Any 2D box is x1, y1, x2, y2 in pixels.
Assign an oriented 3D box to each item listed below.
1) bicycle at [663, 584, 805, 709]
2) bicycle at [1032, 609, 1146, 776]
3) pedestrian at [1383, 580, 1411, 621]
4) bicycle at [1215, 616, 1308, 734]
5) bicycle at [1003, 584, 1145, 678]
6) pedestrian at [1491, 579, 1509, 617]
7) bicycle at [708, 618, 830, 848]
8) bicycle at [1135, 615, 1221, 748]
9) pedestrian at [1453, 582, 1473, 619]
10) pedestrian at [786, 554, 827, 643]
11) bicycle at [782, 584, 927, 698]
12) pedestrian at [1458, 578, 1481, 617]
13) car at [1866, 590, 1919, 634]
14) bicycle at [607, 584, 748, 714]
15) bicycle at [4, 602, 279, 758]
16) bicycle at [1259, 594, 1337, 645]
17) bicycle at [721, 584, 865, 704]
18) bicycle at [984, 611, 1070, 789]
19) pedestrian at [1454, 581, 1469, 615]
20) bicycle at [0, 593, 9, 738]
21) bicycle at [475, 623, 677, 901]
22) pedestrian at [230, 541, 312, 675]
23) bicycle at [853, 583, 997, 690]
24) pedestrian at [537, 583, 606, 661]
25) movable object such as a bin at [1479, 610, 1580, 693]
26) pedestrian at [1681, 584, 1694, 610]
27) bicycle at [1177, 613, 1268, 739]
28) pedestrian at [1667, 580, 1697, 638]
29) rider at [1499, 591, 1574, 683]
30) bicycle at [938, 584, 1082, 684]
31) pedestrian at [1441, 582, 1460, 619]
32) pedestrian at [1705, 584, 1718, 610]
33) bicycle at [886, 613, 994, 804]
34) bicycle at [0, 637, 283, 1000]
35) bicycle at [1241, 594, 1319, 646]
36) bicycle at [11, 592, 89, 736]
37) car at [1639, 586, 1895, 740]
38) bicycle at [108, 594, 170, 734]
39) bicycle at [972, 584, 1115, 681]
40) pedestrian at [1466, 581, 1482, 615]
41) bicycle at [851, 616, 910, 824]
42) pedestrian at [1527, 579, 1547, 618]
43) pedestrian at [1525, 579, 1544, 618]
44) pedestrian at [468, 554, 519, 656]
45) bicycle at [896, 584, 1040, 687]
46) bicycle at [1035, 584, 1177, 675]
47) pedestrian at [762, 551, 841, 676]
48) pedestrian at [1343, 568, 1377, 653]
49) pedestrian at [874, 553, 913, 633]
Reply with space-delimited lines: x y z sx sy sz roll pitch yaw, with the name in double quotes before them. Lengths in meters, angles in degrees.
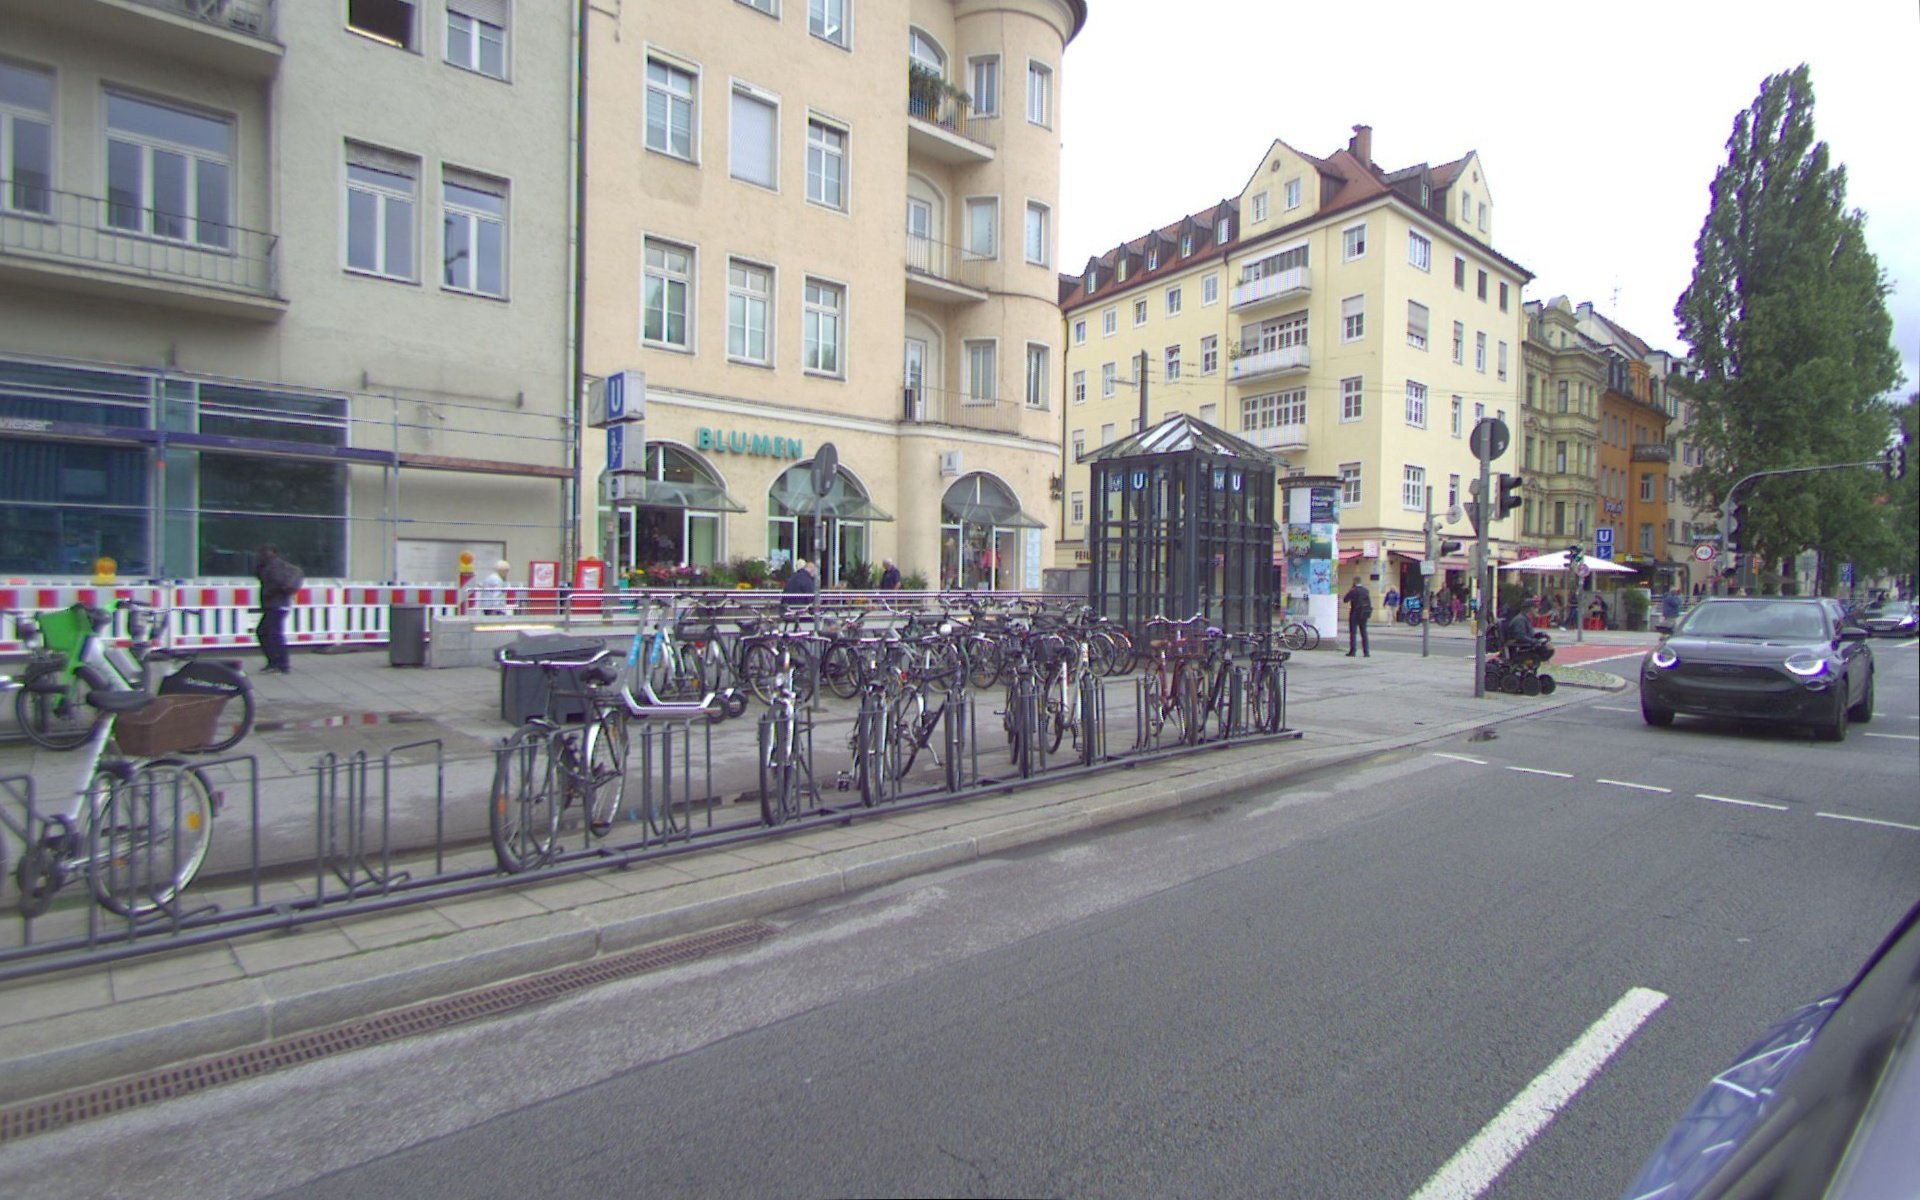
"bicycle" -2.633 0.467 11.565 0.617 1.242 2.343 0 2 -38
"bicycle" 0.986 0.667 8.123 0.468 1.151 1.788 0 0 -7
"pedestrian" 17.177 0.023 39.766 0.818 1.587 0.714 -1 0 -41
"bicycle" 2.980 0.716 10.150 0.390 1.073 1.851 0 -2 1
"bicycle" 1.631 0.407 14.915 0.617 1.242 2.318 0 2 -38
"pedestrian" 25.071 -0.101 46.984 0.575 1.705 0.552 0 1 -41
"bicycle" -1.115 0.709 6.208 0.578 1.151 1.798 0 0 -6
"bicycle" 1.933 0.699 9.147 0.390 1.073 1.851 0 -2 1
"pedestrian" 20.989 0.022 42.242 0.575 1.545 0.528 0 1 -41
"pedestrian" -3.007 -0.044 19.795 0.580 1.722 0.565 -1 2 -43
"bicycle" -1.359 0.454 12.573 0.617 1.242 2.343 0 2 -38
"pedestrian" 22.595 -0.130 44.861 0.672 1.688 0.622 1 1 5
"car" 37.976 0.443 40.692 3.931 1.644 1.852 -1 1 -41
"bicycle" -3.161 0.476 11.157 0.617 1.242 2.368 0 2 -38
"bicycle" -6.137 0.589 7.625 1.728 1.091 0.410 1 2 -1
"bicycle" 8.098 0.451 24.334 0.597 1.142 1.828 2 1 -29
"bicycle" -2.015 0.457 11.925 0.617 1.242 2.318 0 2 -38
"bicycle" 0.471 0.677 7.615 0.469 1.151 1.679 0 0 -2
"pedestrian" 23.115 -0.109 46.641 0.525 1.545 0.578 2 1 34
"bicycle" -8.191 0.515 8.380 1.449 1.091 0.404 3 3 44
"bicycle" -1.927 0.727 5.323 0.480 1.151 1.797 0 0 -3
"pedestrian" -8.838 0.092 12.979 0.819 1.652 0.564 0 1 -38
"bicycle" -0.510 0.427 13.287 0.617 1.242 2.330 0 2 -38
"pedestrian" -6.611 0.351 17.226 0.904 1.261 0.700 -2 3 -43
"movable object such as a bin" 8.368 0.734 14.889 0.735 1.075 1.088 -1 4 -44
"pedestrian" 48.606 -0.209 67.593 0.575 1.705 0.552 0 1 -41
"bicycle" 2.442 0.690 9.586 0.390 1.073 1.851 0 -2 1
"pedestrian" 23.476 0.268 32.913 0.729 1.823 0.701 2 3 40
"rider" 8.450 0.514 14.829 0.721 1.256 0.731 -1 4 -44
"bicycle" 0.643 0.426 14.109 0.617 1.242 2.318 0 2 -38
"pedestrian" 20.648 0.021 42.617 0.575 1.545 0.528 0 1 -41
"pedestrian" 49.889 -0.215 67.156 0.575 1.705 0.552 0 1 -41
"bicycle" -0.182 0.688 7.175 0.468 1.151 1.681 0 0 -11
"bicycle" -3.436 0.758 3.840 0.480 1.151 1.794 0 0 3
"bicycle" 7.564 0.460 23.978 0.597 1.142 1.828 2 1 -29
"bicycle" -7.865 0.508 8.734 1.449 1.091 0.404 3 3 44
"car" 9.558 0.600 11.871 3.981 1.488 1.738 0 1 -42
"bicycle" -7.410 0.525 9.157 0.403 1.091 1.651 0 2 -38
"bicycle" 1.143 0.417 14.482 0.617 1.242 2.318 0 2 -38
"pedestrian" 23.512 -0.109 46.305 0.525 1.545 0.578 2 1 34
"bicycle" -0.531 0.699 6.582 0.341 1.151 1.527 0 0 -6
"pedestrian" 25.041 -0.072 43.904 0.575 1.705 0.552 0 1 -41
"pedestrian" 25.369 -0.084 44.703 0.575 1.705 0.552 0 1 -41
"pedestrian" -7.269 0.060 15.768 0.580 1.560 0.565 -1 2 -43
"bicycle" 0.058 0.435 13.765 0.617 1.242 2.318 0 2 -38
"bicycle" 2.169 0.397 15.371 0.617 1.242 2.318 0 2 -38
"pedestrian" -2.252 0.169 14.422 0.804 1.713 0.747 2 1 35
"pedestrian" 8.662 0.222 21.905 0.634 1.799 0.605 1 1 26
"pedestrian" -1.487 -0.172 22.636 0.634 1.760 0.617 -1 2 -43
